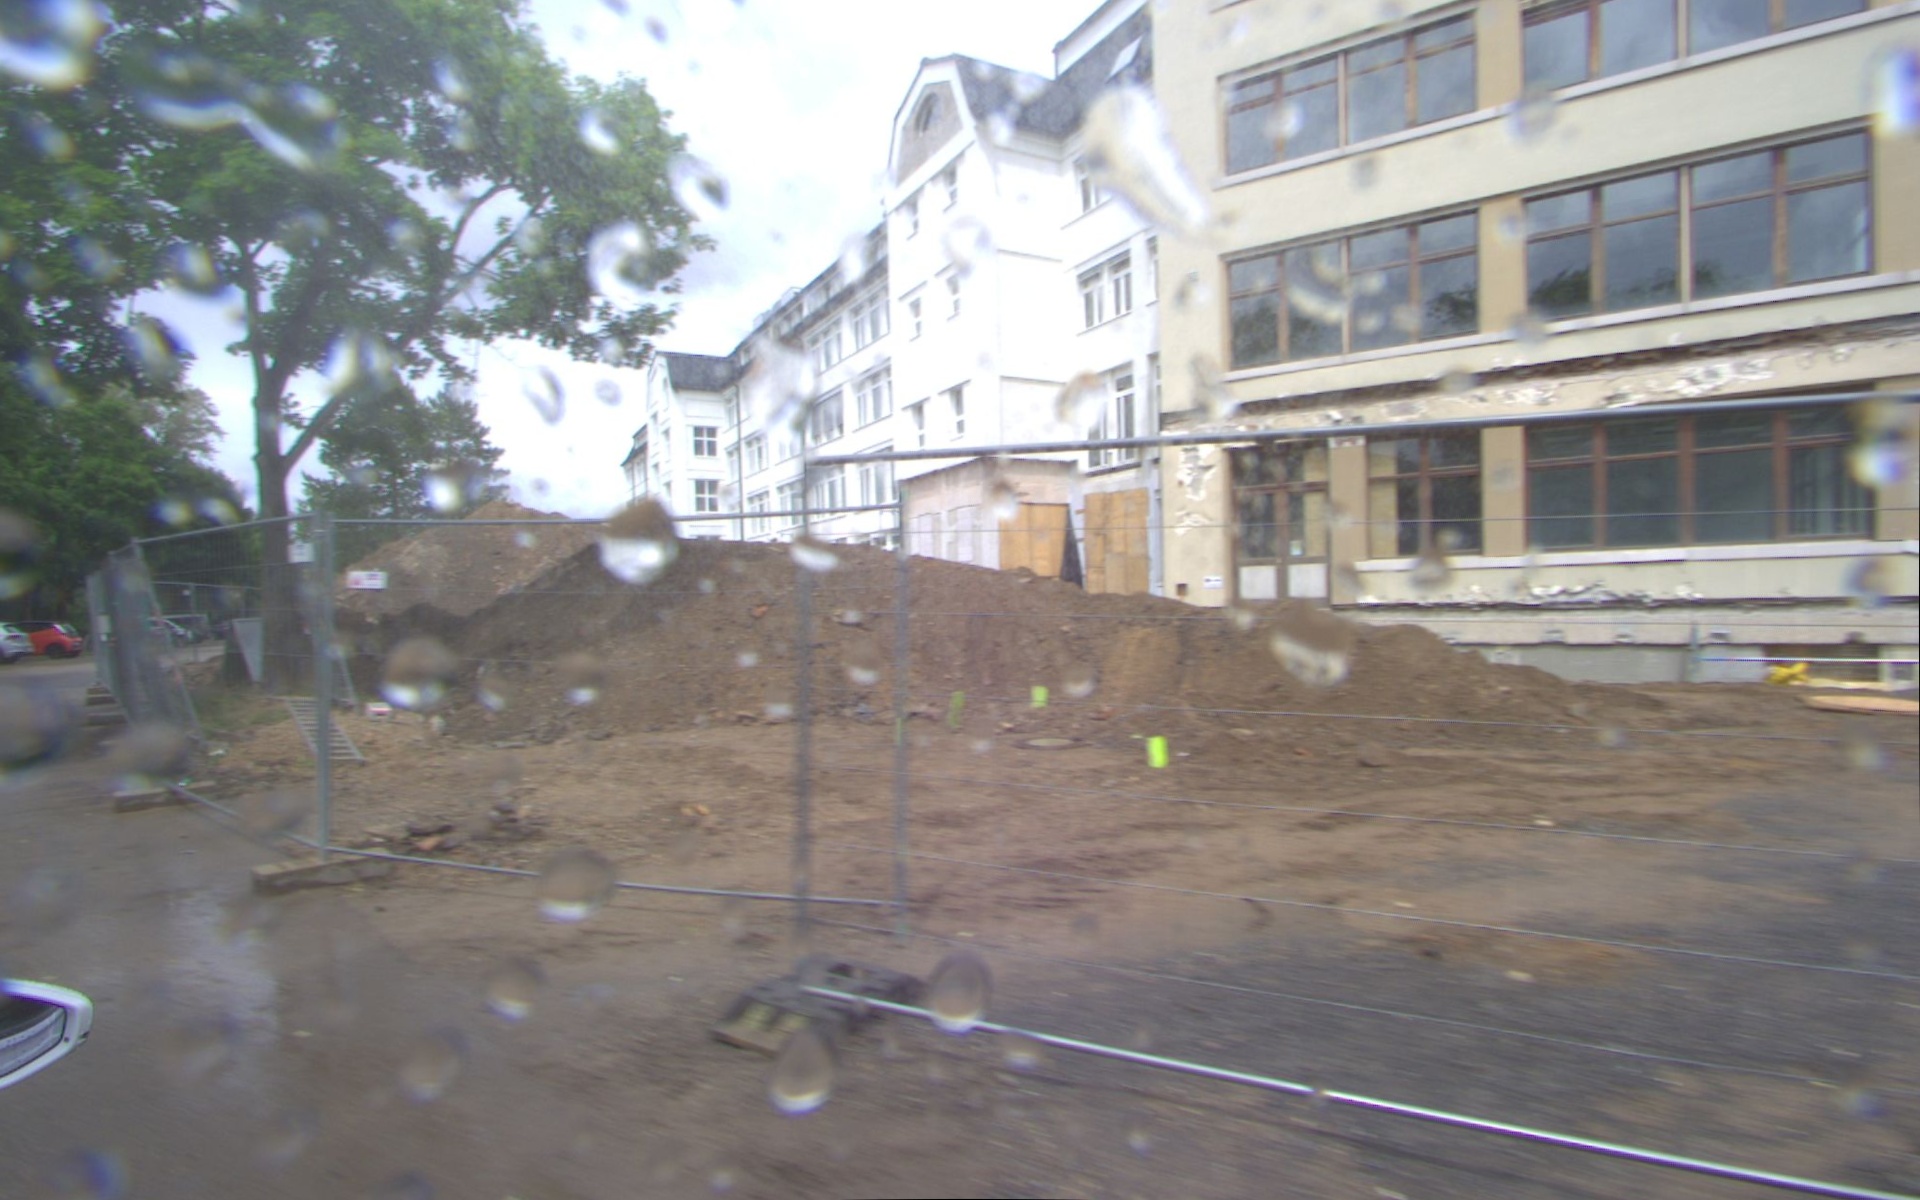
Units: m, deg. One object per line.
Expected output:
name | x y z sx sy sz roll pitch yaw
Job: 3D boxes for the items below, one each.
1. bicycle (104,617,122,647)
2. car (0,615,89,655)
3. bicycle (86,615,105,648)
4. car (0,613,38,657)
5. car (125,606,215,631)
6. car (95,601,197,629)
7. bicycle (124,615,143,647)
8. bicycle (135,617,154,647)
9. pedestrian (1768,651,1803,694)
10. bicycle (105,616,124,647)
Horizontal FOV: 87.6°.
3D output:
bicycle | -38.819 1.496 45.868 0.591 1.325 2.647 0 -2 -41
car | -35.306 1.317 37.485 4.002 1.427 1.966 0 -2 -40
bicycle | -36.525 1.339 42.330 0.591 1.325 2.647 0 -2 -41
car | -32.601 1.160 32.337 4.002 1.427 1.966 0 -2 -40
car | -47.874 1.096 60.764 3.989 1.427 1.972 0 -2 -30
car | -44.250 0.816 54.567 3.989 1.427 1.972 0 -2 -30
bicycle | -35.634 1.345 43.152 0.591 1.325 2.647 0 -2 -41
bicycle | -37.975 1.501 46.612 0.591 1.325 2.647 0 -2 -41
pedestrian | 13.410 1.172 16.266 0.386 0.670 0.344 0 1 30
bicycle | -36.077 1.357 42.735 0.591 1.283 2.647 0 -2 -41
